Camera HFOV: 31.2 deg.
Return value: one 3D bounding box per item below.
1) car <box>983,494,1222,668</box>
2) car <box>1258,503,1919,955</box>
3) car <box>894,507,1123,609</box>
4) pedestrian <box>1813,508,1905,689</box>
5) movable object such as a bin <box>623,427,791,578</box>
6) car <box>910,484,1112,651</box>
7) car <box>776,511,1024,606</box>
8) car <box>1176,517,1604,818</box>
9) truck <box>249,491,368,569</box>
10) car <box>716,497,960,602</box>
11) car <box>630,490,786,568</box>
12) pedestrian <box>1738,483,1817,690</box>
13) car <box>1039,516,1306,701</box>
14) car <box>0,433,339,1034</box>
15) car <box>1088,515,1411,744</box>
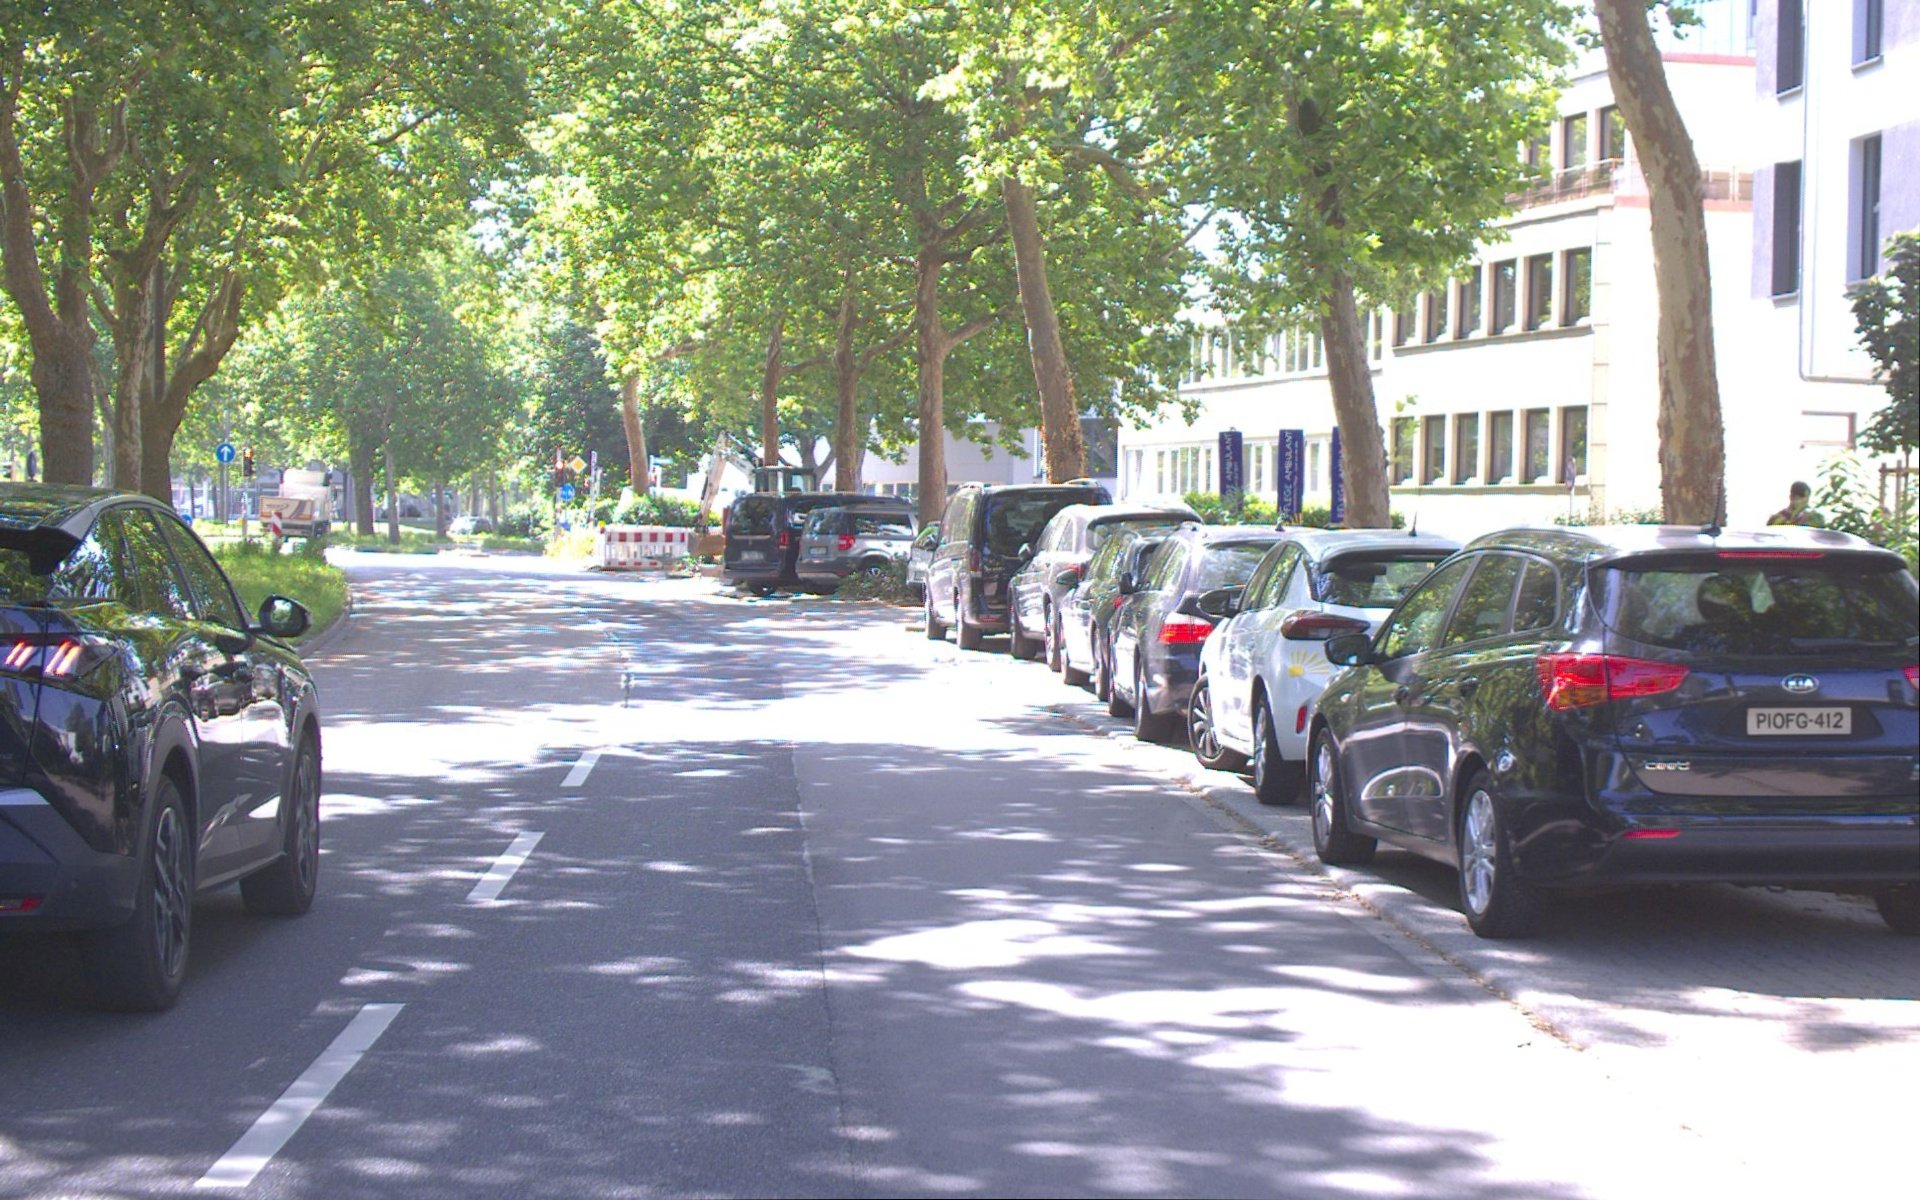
[{"bbox_3d":[1.402,-0.230,35.537,1.706,1.664,4.535,1,1,-7],"label":"car"},{"bbox_3d":[2.491,0.369,13.699,1.706,1.482,4.720,0,1,-6],"label":"car"},{"bbox_3d":[0.792,-0.703,57.394,3.551,1.634,1.659,1,1,-10],"label":"car"},{"bbox_3d":[7.967,-0.019,30.487,0.613,1.575,0.570,1,1,-3],"label":"pedestrian"},{"bbox_3d":[-5.595,-2.139,75.817,2.328,3.230,3.431,0,1,-32],"label":"movable object such as a bin"},{"bbox_3d":[0.538,-0.414,40.639,1.706,1.835,4.727,1,1,-7],"label":"car"},{"bbox_3d":[-1.086,-0.748,61.823,4.099,1.627,1.713,0,1,-23],"label":"car"},{"bbox_3d":[2.283,0.296,19.263,1.706,1.482,4.101,1,1,-2],"label":"car"},{"bbox_3d":[-31.608,-3.383,166.899,5.525,3.665,2.001,1,1,-8],"label":"truck"},{"bbox_3d":[-2.258,-0.935,63.623,4.099,1.873,1.785,0,1,-24],"label":"car"},{"bbox_3d":[-8.473,-2.373,115.294,4.980,2.533,2.001,1,1,-10],"label":"car"},{"bbox_3d":[7.201,-0.120,30.299,0.476,1.802,0.637,1,1,-3],"label":"pedestrian"},{"bbox_3d":[1.786,0.021,30.224,1.706,1.482,4.485,1,1,-5],"label":"car"},{"bbox_3d":[-3.410,0.333,11.859,1.872,1.690,4.436,0,1,-2],"label":"car"},{"bbox_3d":[1.950,0.140,24.473,1.706,1.450,4.656,1,1,-2],"label":"car"}]
